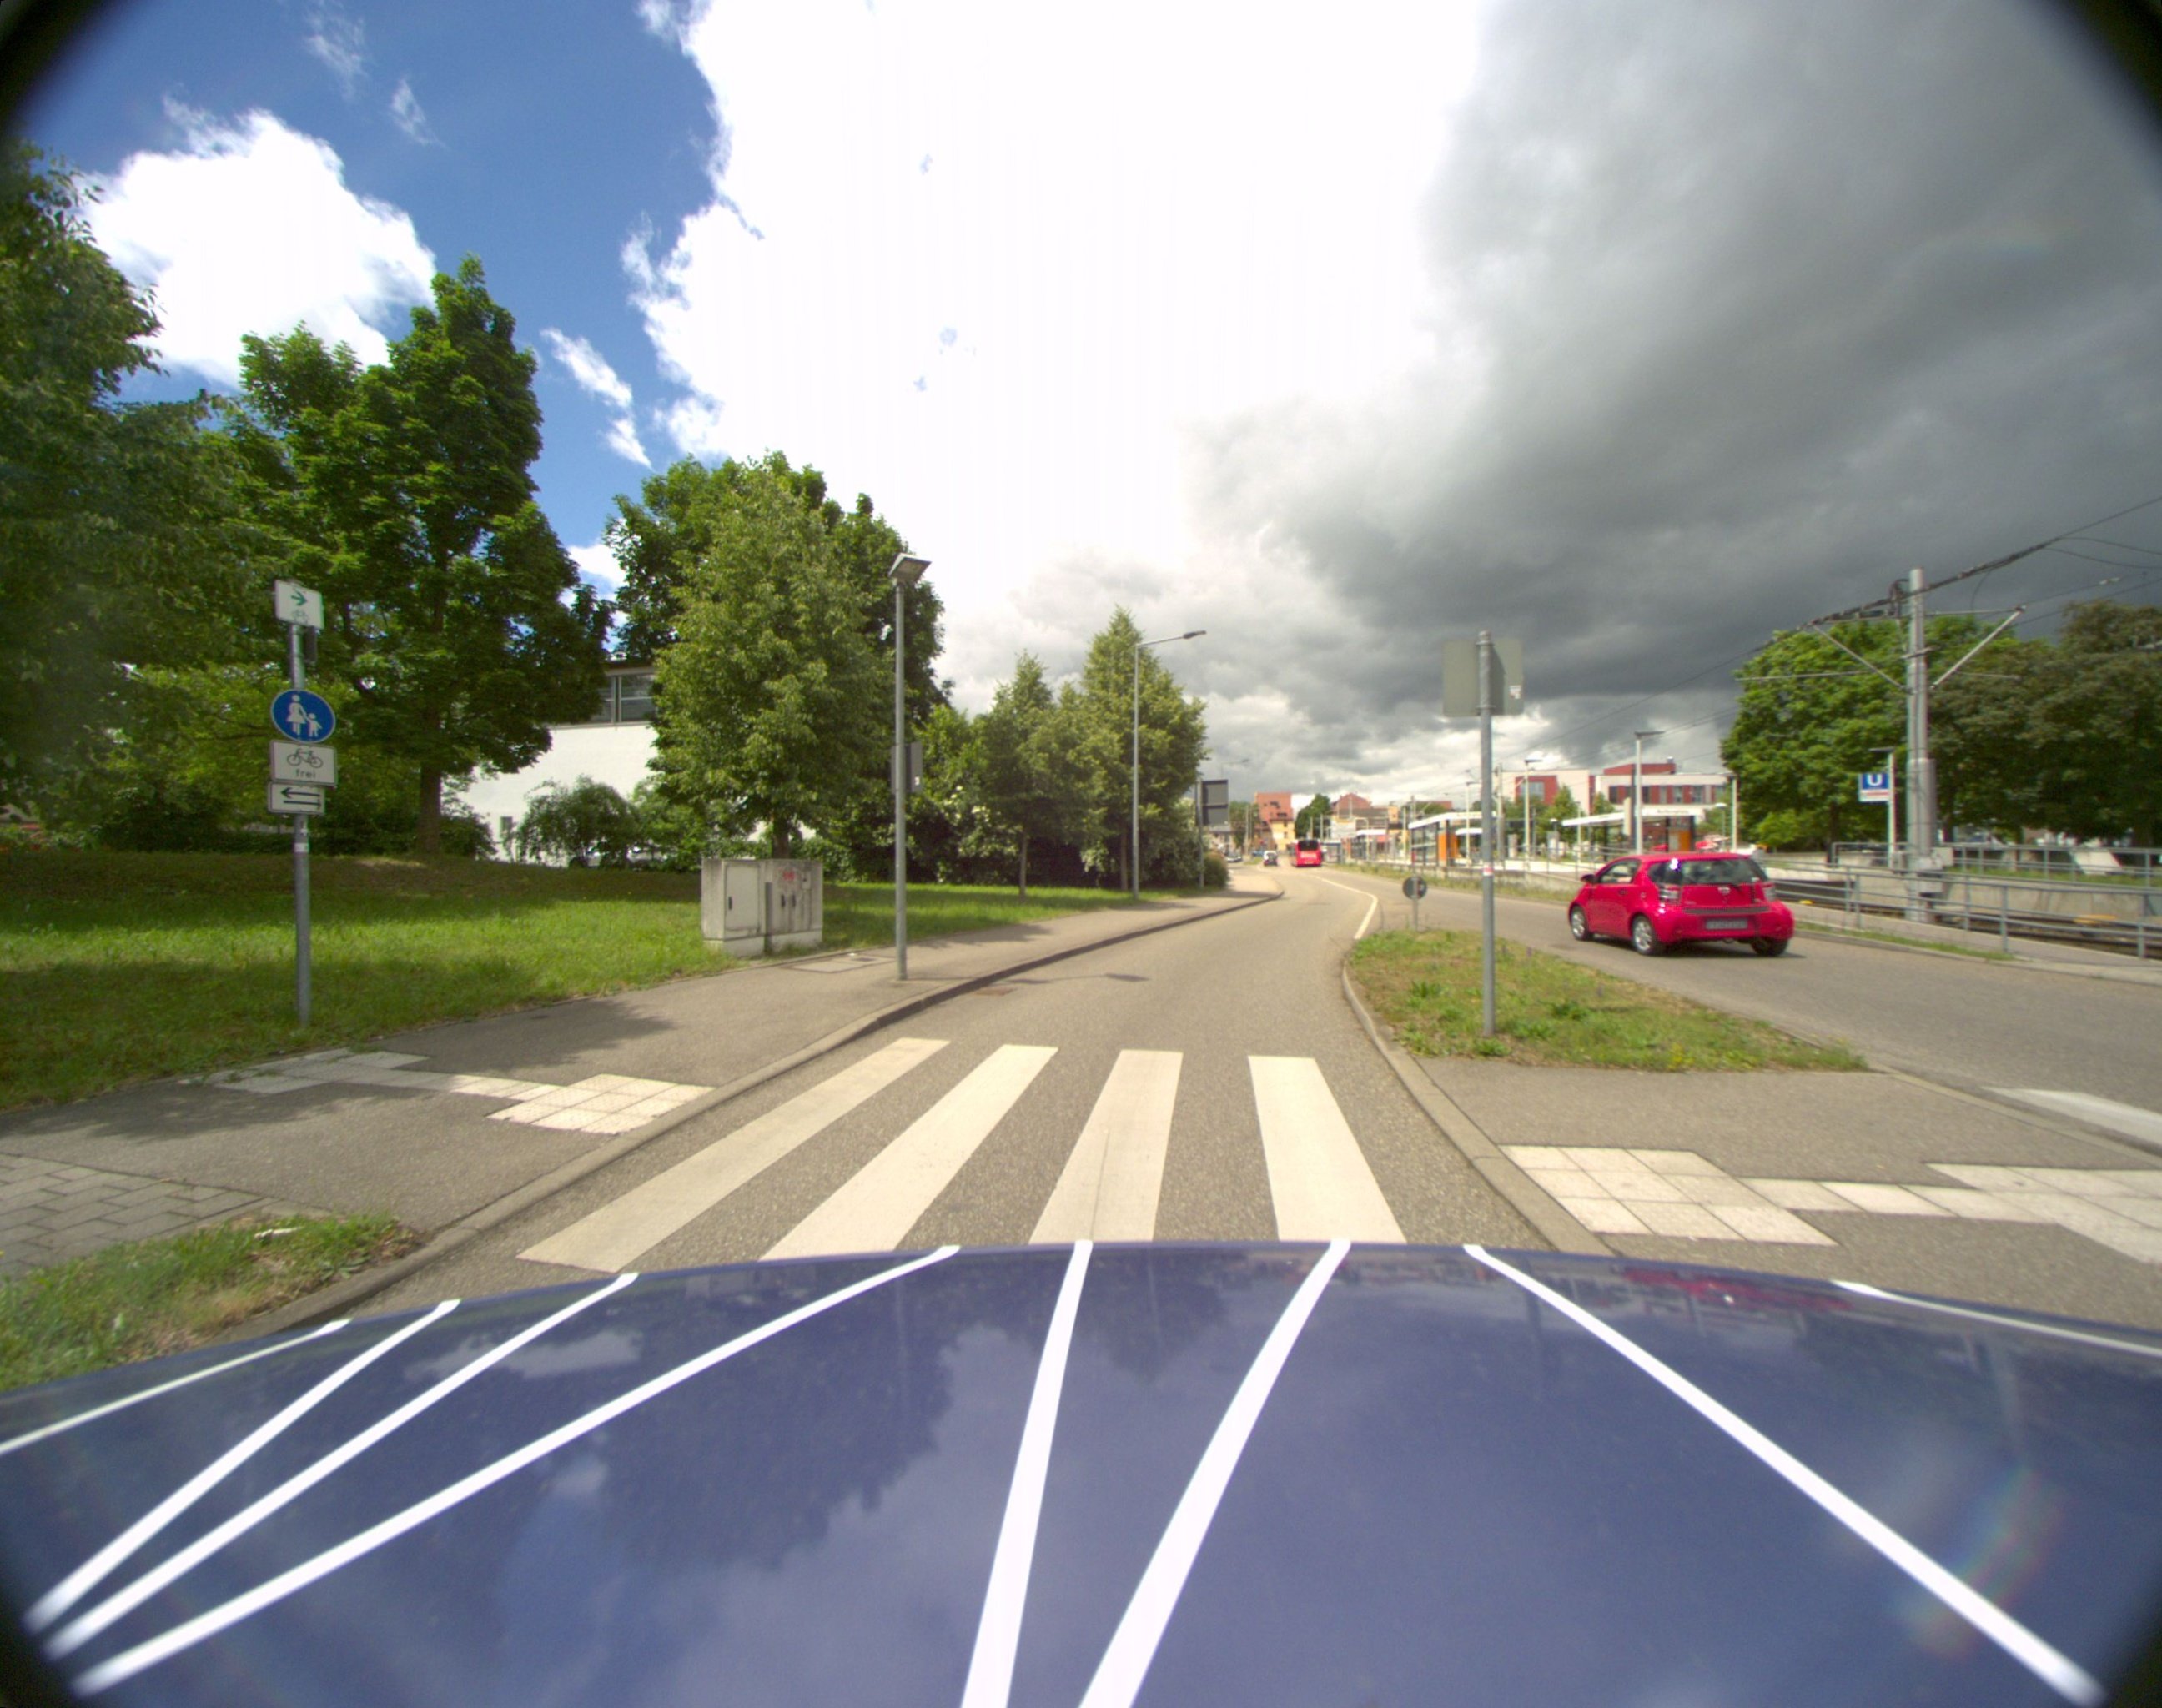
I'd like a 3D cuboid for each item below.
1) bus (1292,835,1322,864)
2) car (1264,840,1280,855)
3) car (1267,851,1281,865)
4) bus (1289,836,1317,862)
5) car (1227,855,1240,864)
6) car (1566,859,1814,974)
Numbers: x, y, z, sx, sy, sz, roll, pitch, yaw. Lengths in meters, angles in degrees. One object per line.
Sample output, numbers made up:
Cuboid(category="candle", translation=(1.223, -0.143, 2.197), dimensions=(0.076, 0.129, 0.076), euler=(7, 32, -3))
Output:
Cuboid(category="bus", translation=(25.180, -0.502, 84.816), dimensions=(2.730, 3.052, 8.971), euler=(0, 1, 13))
Cuboid(category="car", translation=(25.098, -0.780, 100.040), dimensions=(1.764, 1.652, 4.513), euler=(1, -3, 11))
Cuboid(category="car", translation=(23.593, 0.496, 92.859), dimensions=(1.532, 1.542, 3.736), euler=(-2, 0, 15))
Cuboid(category="bus", translation=(27.347, -0.629, 93.858), dimensions=(2.730, 3.091, 9.712), euler=(0, 1, 13))
Cuboid(category="car", translation=(24.691, 0.896, 123.015), dimensions=(1.880, 1.420, 4.005), euler=(0, -1, 13))
Cuboid(category="car", translation=(8.924, 0.826, 11.464), dimensions=(1.722, 1.494, 2.969), euler=(0, 0, 10))
